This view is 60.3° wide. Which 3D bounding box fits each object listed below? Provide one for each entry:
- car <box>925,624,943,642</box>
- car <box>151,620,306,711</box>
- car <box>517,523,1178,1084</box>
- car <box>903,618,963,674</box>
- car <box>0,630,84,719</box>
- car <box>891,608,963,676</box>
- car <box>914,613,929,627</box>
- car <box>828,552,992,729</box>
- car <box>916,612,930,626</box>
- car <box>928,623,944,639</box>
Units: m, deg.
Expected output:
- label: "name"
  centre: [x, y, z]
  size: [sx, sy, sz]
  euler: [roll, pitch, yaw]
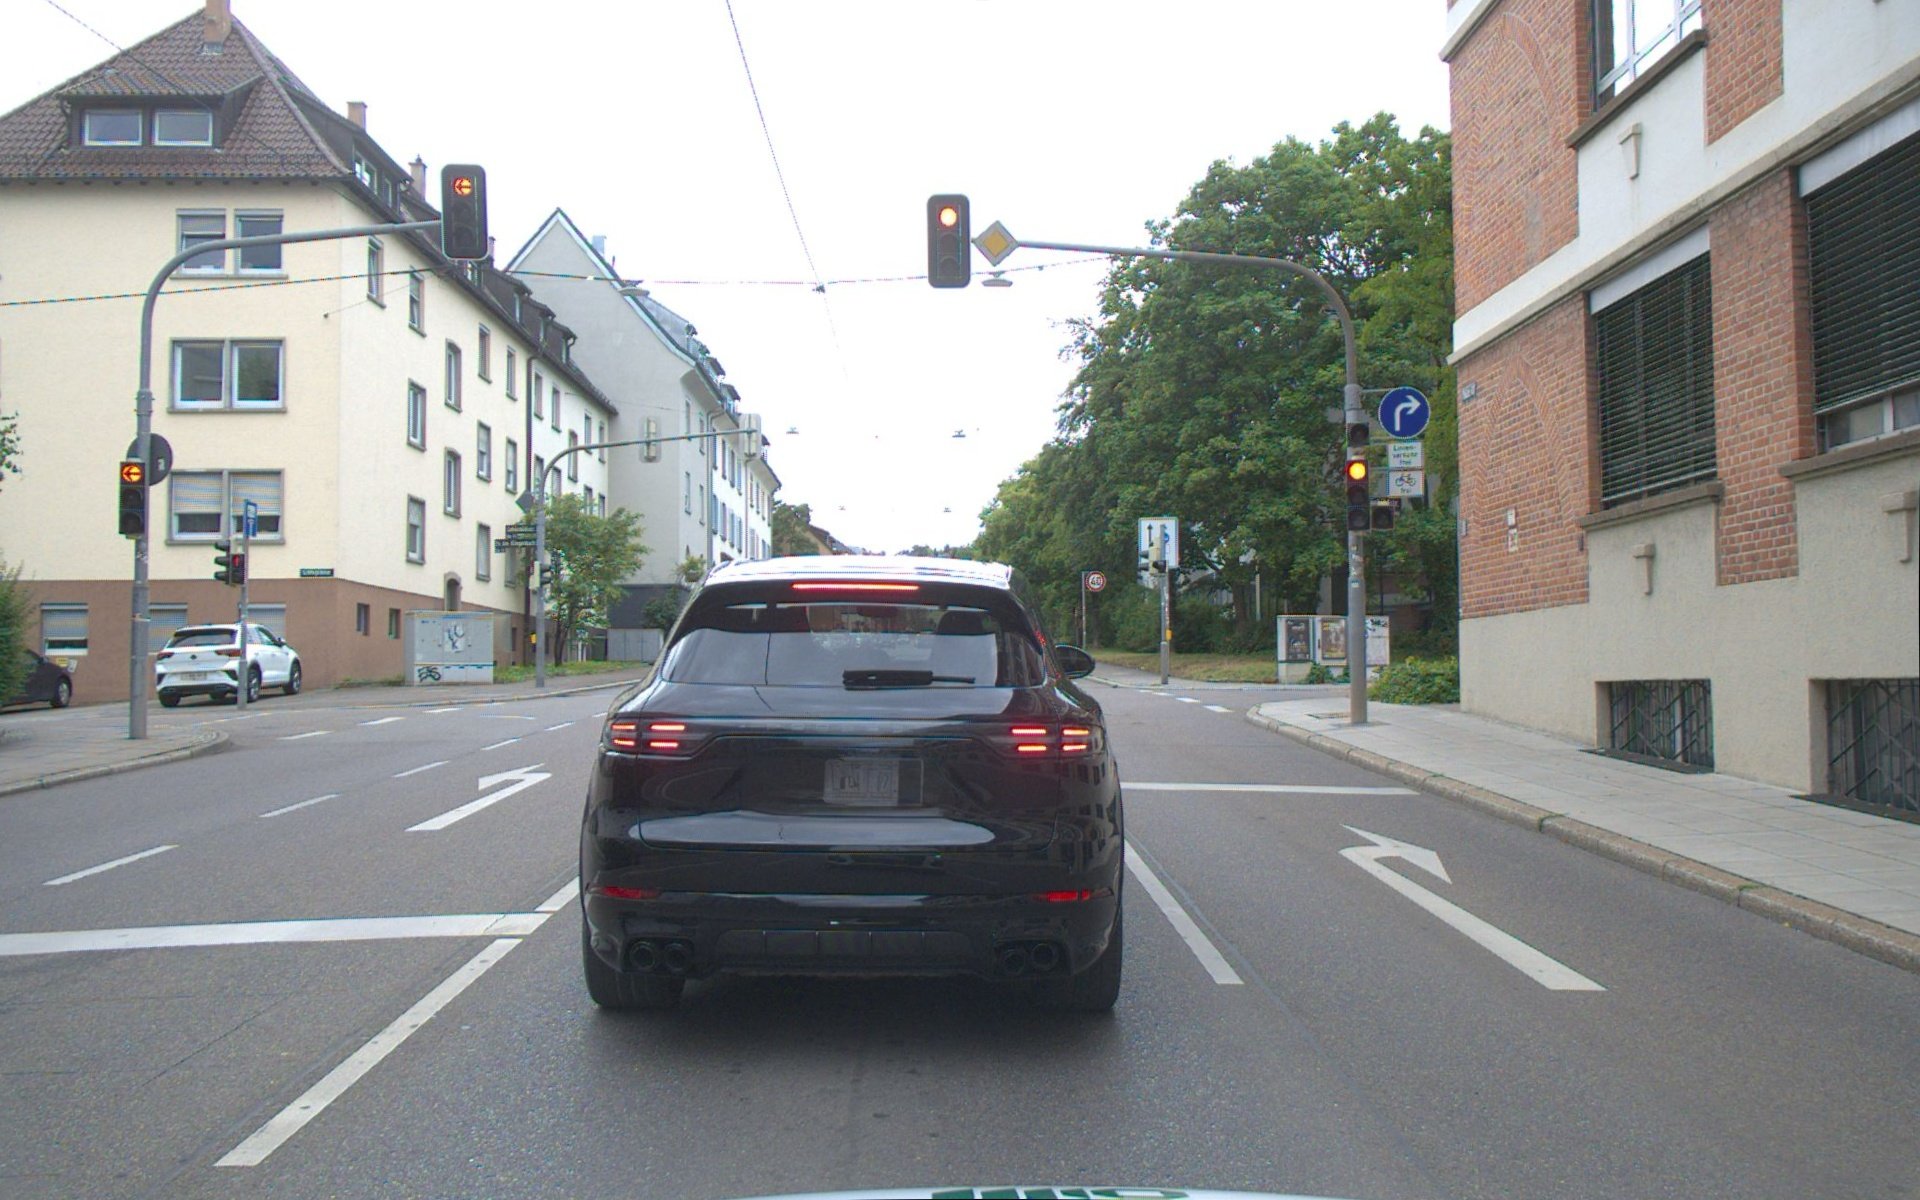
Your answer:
- label: "car"
  centre: [-2.550, 3.267, 163.222]
  size: [1.790, 1.633, 4.134]
  euler: [1, 0, -1]
- label: "car"
  centre: [-14.724, 1.272, 33.489]
  size: [1.658, 1.582, 3.762]
  euler: [-3, 0, -5]
- label: "car"
  centre: [-0.362, 0.623, 7.238]
  size: [2.007, 1.695, 4.266]
  euler: [1, 0, -1]
- label: "car"
  centre: [-0.848, 1.428, 52.508]
  size: [1.790, 1.633, 3.858]
  euler: [1, 0, -1]
- label: "car"
  centre: [-19.629, 1.518, 33.757]
  size: [1.658, 1.636, 3.762]
  euler: [-3, 0, -5]
- label: "car"
  centre: [-0.841, 1.074, 43.795]
  size: [1.790, 1.633, 4.134]
  euler: [1, 0, -1]
- label: "car"
  centre: [-4.748, 2.453, 202.837]
  size: [1.790, 1.633, 4.134]
  euler: [1, 0, -1]
- label: "car"
  centre: [-0.616, 0.477, 21.884]
  size: [1.925, 2.078, 4.134]
  euler: [1, 0, -1]
- label: "car"
  centre: [-4.677, 2.402, 210.165]
  size: [1.790, 1.633, 4.134]
  euler: [1, 0, -1]
- label: "car"
  centre: [-2.626, 3.431, 182.394]
  size: [1.790, 1.633, 4.134]
  euler: [1, 0, -1]
